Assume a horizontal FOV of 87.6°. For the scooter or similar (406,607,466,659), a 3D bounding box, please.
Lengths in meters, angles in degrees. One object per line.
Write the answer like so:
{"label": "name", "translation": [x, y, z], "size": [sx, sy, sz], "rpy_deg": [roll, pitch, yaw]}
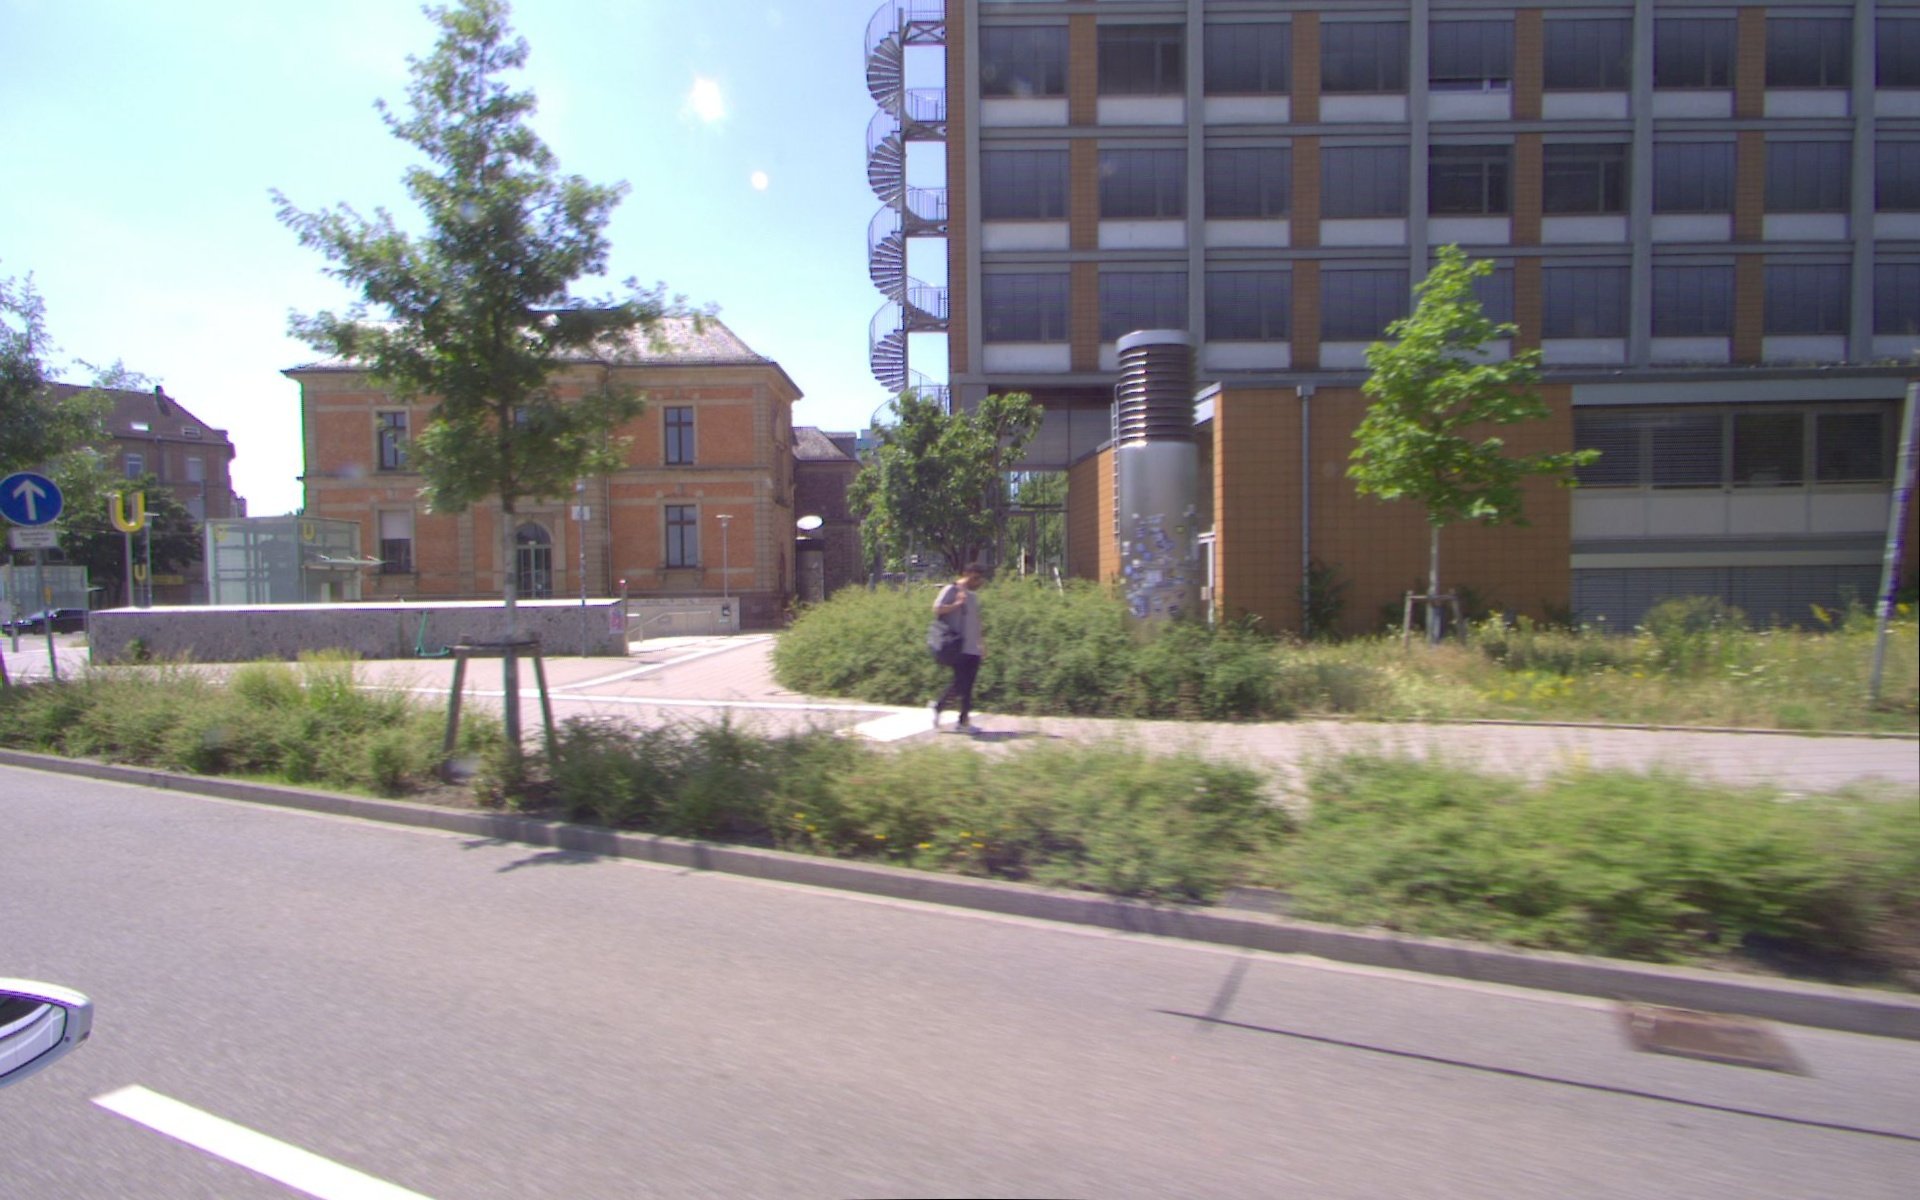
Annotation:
{"label": "scooter or similar", "translation": [-12.418, 0.779, 23.737], "size": [1.265, 1.183, 0.397], "rpy_deg": [2, 1, 8]}

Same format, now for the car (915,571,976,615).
{"label": "car", "translation": [-0.928, -0.430, 62.971], "size": [3.658, 2.680, 1.166], "rpy_deg": [1, 1, 6]}

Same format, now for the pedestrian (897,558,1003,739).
{"label": "pedestrian", "translation": [-0.096, 0.465, 10.061], "size": [0.799, 1.728, 0.730], "rpy_deg": [0, 0, 32]}

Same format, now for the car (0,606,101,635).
{"label": "car", "translation": [-50.090, 1.071, 55.120], "size": [1.665, 1.470, 4.111], "rpy_deg": [2, 0, 11]}
